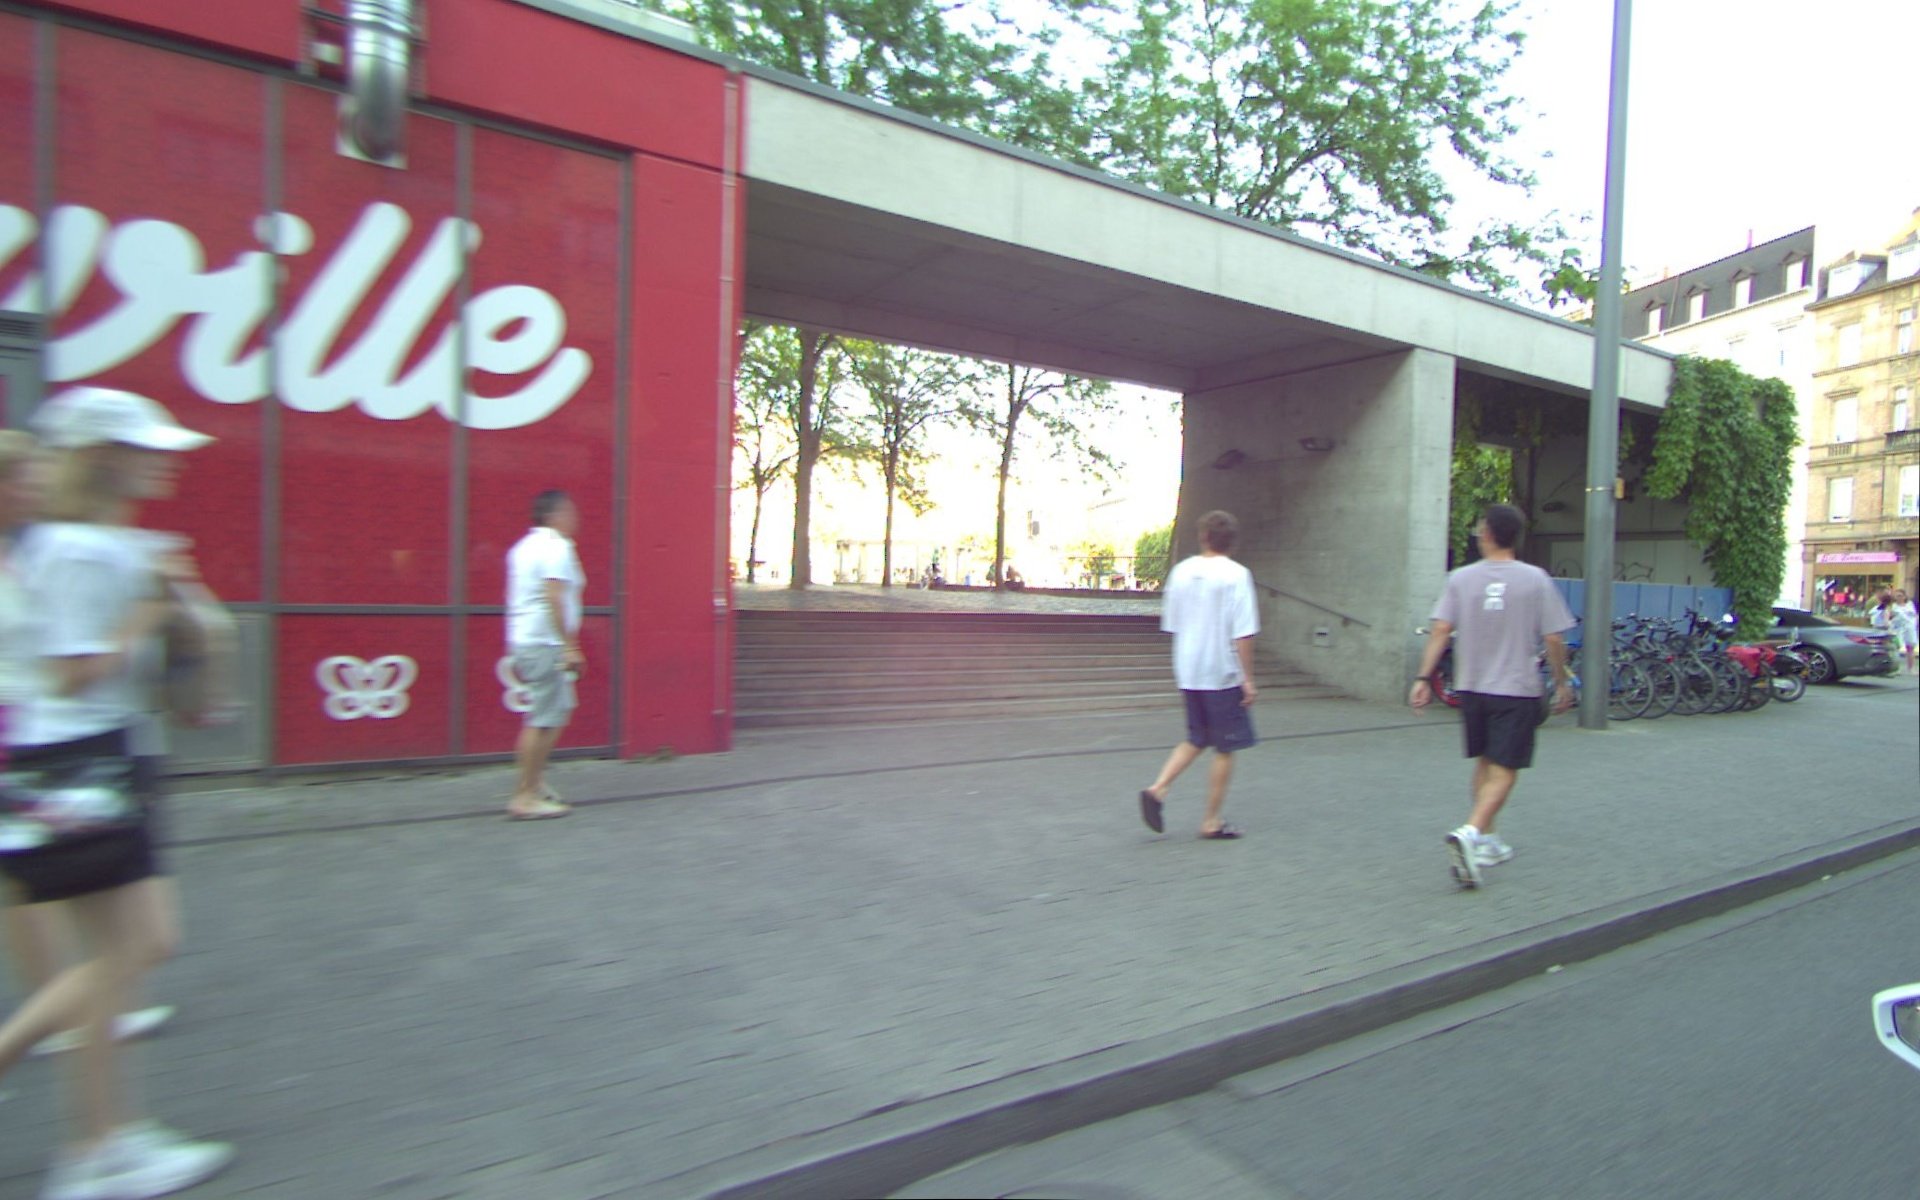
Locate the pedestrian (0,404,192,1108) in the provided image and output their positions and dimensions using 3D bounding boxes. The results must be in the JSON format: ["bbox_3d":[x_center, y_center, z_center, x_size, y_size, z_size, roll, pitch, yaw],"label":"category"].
[{"bbox_3d":[-2.692,0.381,2.766,0.837,1.773,0.748,0,3,-32],"label":"pedestrian"}]

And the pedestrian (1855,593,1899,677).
[{"bbox_3d":[18.543,0.697,20.317,0.514,1.665,0.498,0,1,-29],"label":"pedestrian"}]

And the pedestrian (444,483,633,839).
[{"bbox_3d":[-2.331,0.305,5.537,0.839,1.778,0.713,1,1,-32],"label":"pedestrian"}]

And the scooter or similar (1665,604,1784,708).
[{"bbox_3d":[10.380,0.731,13.666,1.191,1.291,0.419,4,3,44],"label":"scooter or similar"}]

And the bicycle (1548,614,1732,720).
[{"bbox_3d":[8.383,0.784,12.456,0.495,1.122,1.782,0,3,-35],"label":"bicycle"}]

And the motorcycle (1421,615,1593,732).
[{"bbox_3d":[5.984,0.765,11.122,0.750,1.078,1.804,2,2,-5],"label":"motorcycle"}]

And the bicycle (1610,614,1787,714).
[{"bbox_3d":[9.722,0.803,13.300,0.494,1.122,1.785,1,3,-31],"label":"bicycle"}]

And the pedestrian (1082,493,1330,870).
[{"bbox_3d":[1.322,0.384,5.441,0.997,1.837,0.737,1,3,-32],"label":"pedestrian"}]

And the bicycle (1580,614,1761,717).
[{"bbox_3d":[8.994,0.792,12.791,0.495,1.122,1.783,1,3,-33],"label":"bicycle"}]

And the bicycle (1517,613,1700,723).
[{"bbox_3d":[7.744,0.771,12.083,0.494,1.122,1.786,1,2,-28],"label":"bicycle"}]

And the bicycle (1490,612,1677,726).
[{"bbox_3d":[7.247,0.763,11.769,0.494,1.122,1.784,1,3,-31],"label":"bicycle"}]

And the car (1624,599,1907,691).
[{"bbox_3d":[15.427,0.778,19.402,1.875,1.521,3.955,0,1,-39],"label":"car"}]

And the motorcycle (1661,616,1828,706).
[{"bbox_3d":[11.068,0.837,14.243,1.718,1.116,0.566,3,3,25],"label":"motorcycle"}]

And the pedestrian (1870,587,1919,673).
[{"bbox_3d":[19.681,0.621,21.012,0.644,1.769,0.674,1,1,9],"label":"pedestrian"}]

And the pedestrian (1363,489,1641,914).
[{"bbox_3d":[2.735,0.451,5.094,1.038,1.919,0.740,0,3,-31],"label":"pedestrian"}]

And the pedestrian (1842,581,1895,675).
[{"bbox_3d":[18.913,0.575,20.913,0.625,1.907,0.581,0,1,-25],"label":"pedestrian"}]

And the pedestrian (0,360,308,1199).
[{"bbox_3d":[-2.010,0.424,2.178,0.974,1.774,0.645,0,2,-32],"label":"pedestrian"}]
